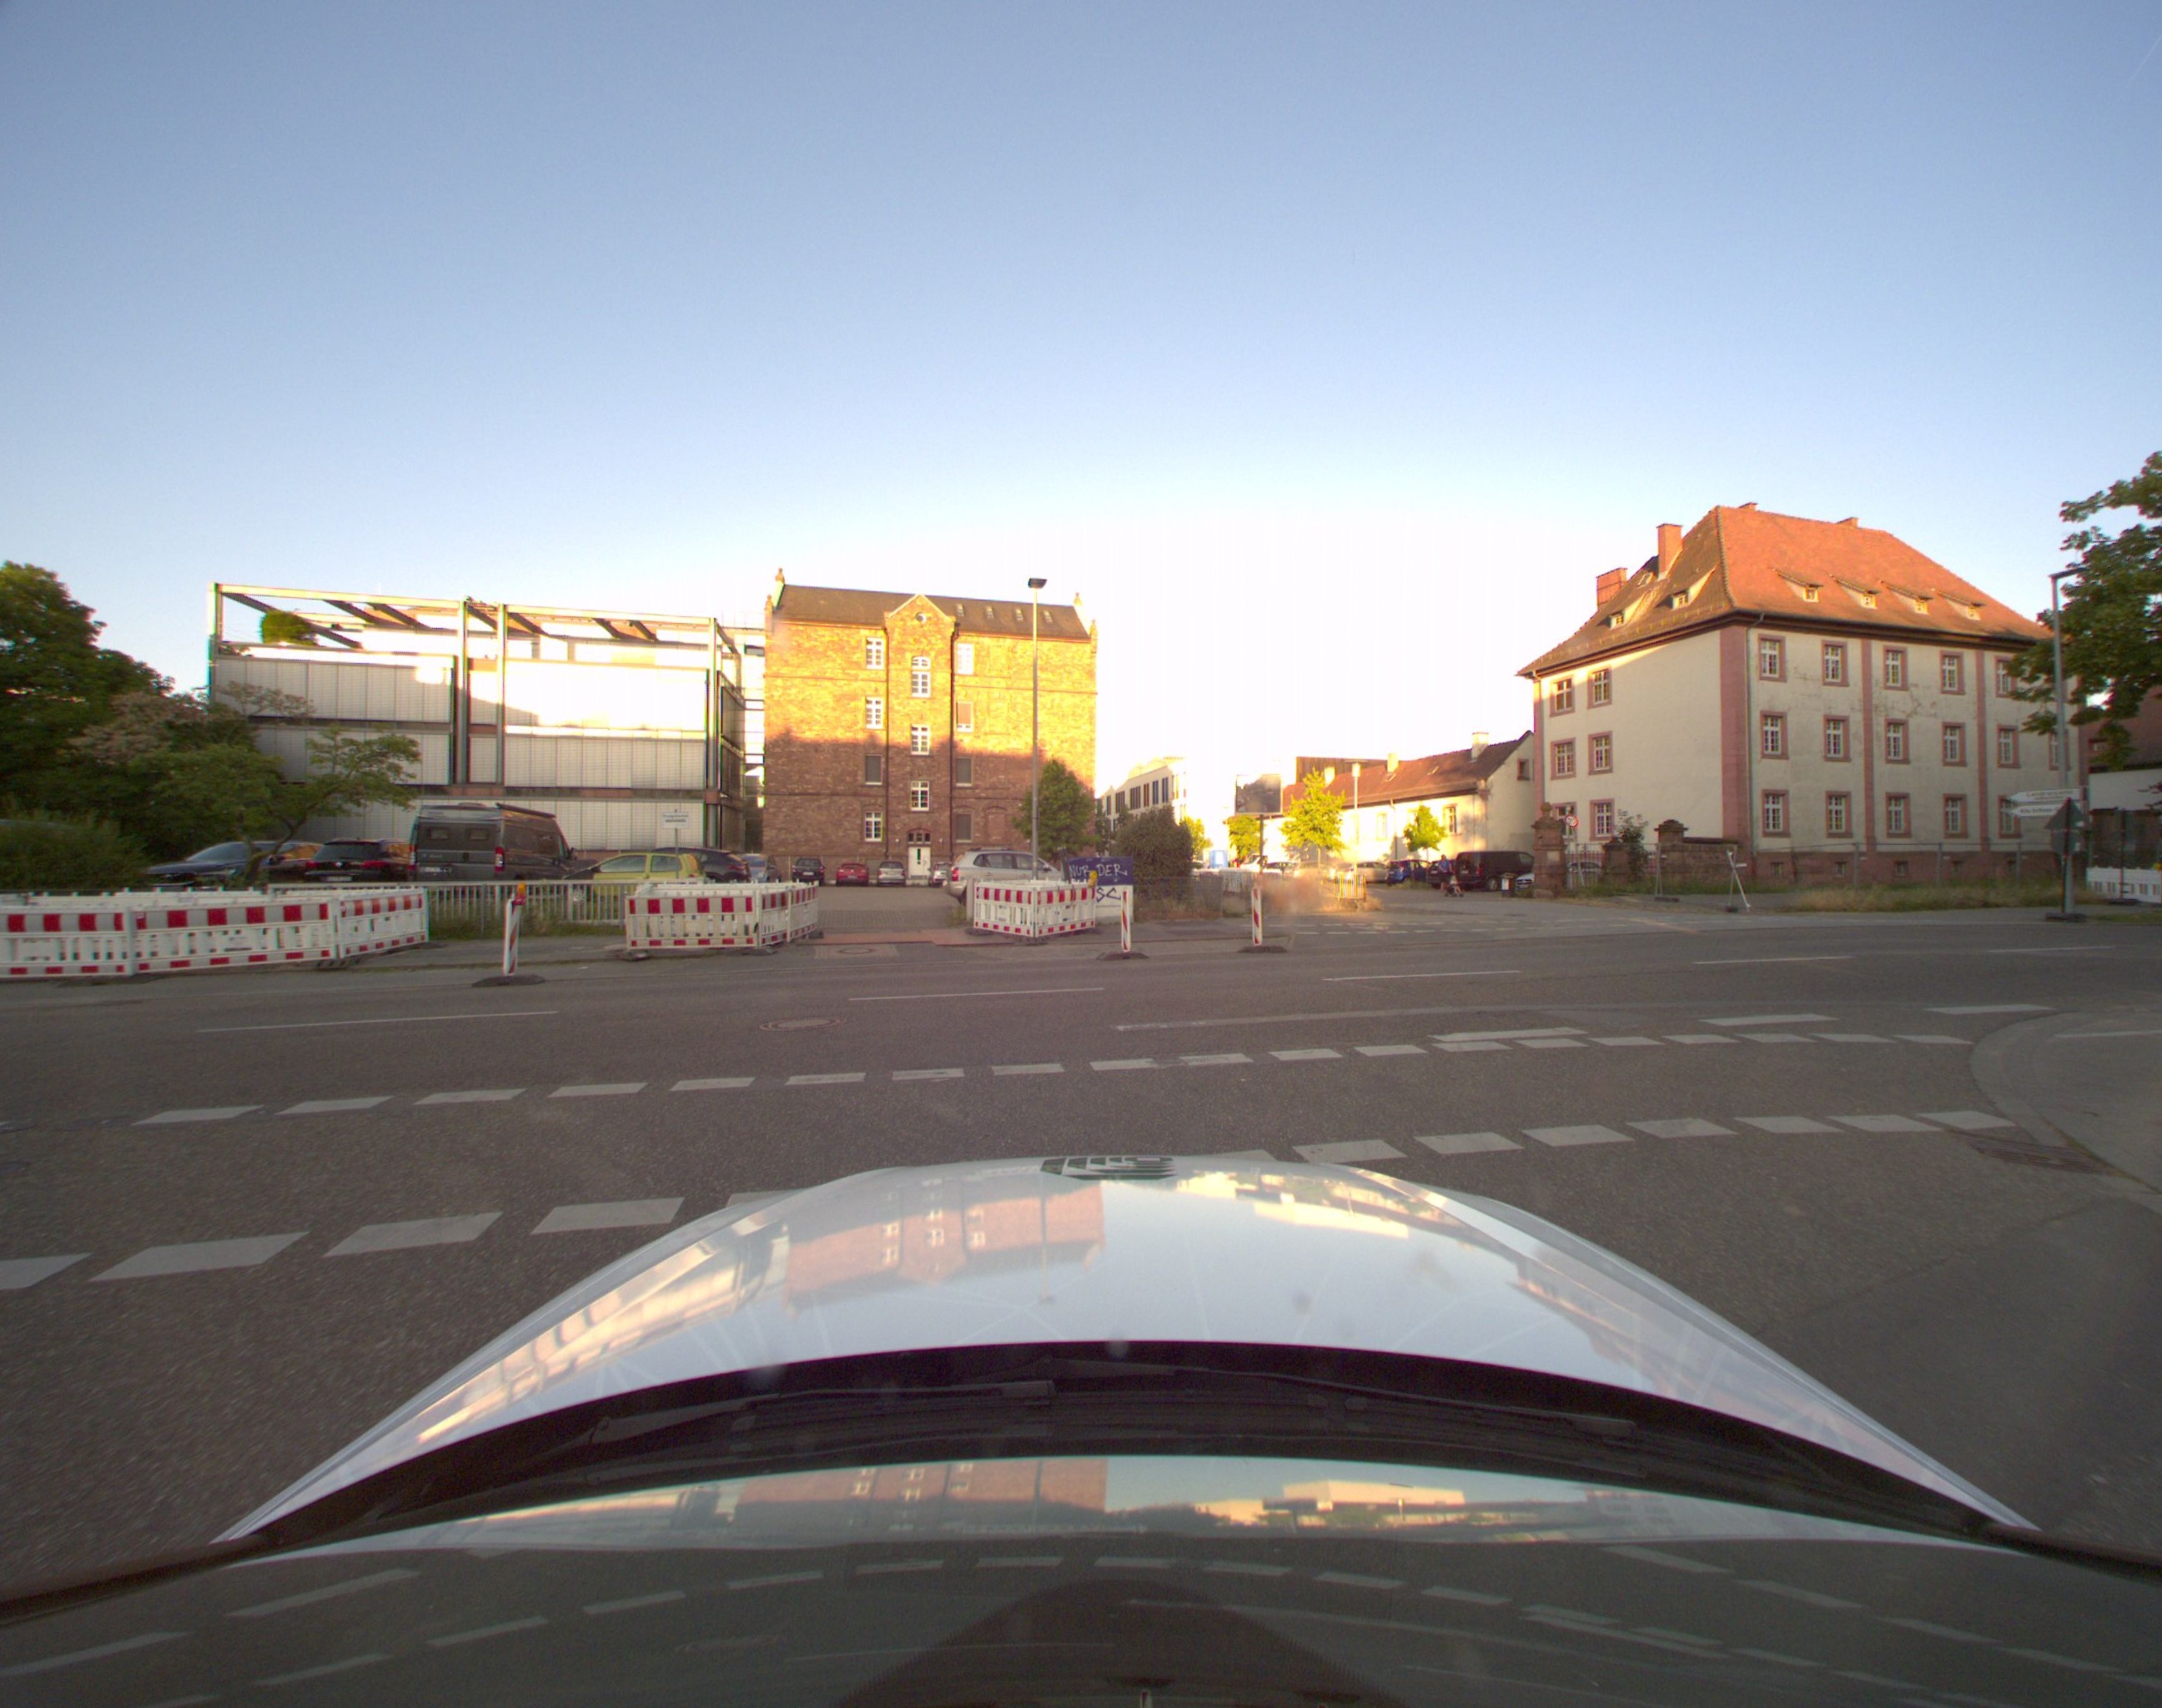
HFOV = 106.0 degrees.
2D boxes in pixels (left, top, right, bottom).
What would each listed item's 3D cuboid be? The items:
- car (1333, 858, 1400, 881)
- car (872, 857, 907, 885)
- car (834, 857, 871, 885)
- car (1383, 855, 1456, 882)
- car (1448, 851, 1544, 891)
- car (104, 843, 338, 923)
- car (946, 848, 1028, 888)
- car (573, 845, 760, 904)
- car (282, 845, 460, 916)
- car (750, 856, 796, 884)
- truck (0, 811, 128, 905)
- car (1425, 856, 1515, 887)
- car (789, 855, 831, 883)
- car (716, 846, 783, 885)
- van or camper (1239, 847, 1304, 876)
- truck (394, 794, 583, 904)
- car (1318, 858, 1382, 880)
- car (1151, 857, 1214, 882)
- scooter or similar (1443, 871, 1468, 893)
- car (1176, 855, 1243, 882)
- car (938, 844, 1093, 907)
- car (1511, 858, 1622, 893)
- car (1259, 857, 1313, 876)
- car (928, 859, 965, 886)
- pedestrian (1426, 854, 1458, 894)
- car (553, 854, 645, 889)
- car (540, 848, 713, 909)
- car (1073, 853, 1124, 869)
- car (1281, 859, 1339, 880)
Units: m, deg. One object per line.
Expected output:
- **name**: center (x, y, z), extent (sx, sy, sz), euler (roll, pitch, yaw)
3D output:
- **car**: center (18.127, 0.976, 51.763), extent (3.750, 1.445, 1.677), euler (0, -1, -18)
- **car**: center (-11.157, 0.973, 47.513), extent (1.899, 1.537, 4.160), euler (0, 0, -13)
- **car**: center (-13.158, 0.924, 47.074), extent (1.899, 1.537, 4.160), euler (0, 0, -13)
- **car**: center (19.601, 0.840, 47.223), extent (3.750, 1.529, 1.677), euler (0, -1, -18)
- **car**: center (20.456, 0.825, 40.169), extent (3.997, 1.859, 1.988), euler (0, -1, -18)
- **car**: center (-20.725, 0.638, 19.950), extent (1.997, 1.727, 4.278), euler (0, 0, -16)
- **car**: center (-4.278, 0.613, 36.923), extent (3.481, 1.709, 1.659), euler (0, 0, -15)
- **car**: center (-12.003, 0.560, 23.872), extent (4.587, 1.638, 1.569), euler (0, 0, -13)
- **car**: center (-18.514, 0.640, 21.508), extent (1.997, 1.692, 3.979), euler (0, 0, -16)
- **car**: center (-17.484, 0.880, 46.384), extent (1.899, 1.537, 4.160), euler (0, 0, -13)
- **truck**: center (-25.288, 0.100, 18.640), extent (2.106, 2.091, 4.496), euler (0, -1, -10)
- **car**: center (20.439, 0.891, 42.844), extent (3.997, 1.573, 1.988), euler (0, -1, -18)
- **car**: center (-15.555, 0.819, 46.961), extent (1.899, 1.537, 4.160), euler (0, 0, -13)
- **car**: center (-14.204, 0.479, 35.146), extent (1.996, 1.576, 4.344), euler (0, 0, -13)
- **van or camper**: center (15.344, 0.623, 65.500), extent (4.975, 2.240, 1.677), euler (0, -1, -18)
- **truck**: center (-15.787, -0.106, 22.125), extent (2.336, 2.617, 4.951), euler (0, 0, -13)
- **car**: center (17.940, 1.003, 54.353), extent (3.750, 1.445, 1.677), euler (0, -1, -18)
- **car**: center (6.592, 1.012, 53.176), extent (3.750, 1.603, 1.677), euler (0, -1, -18)
- **scooter or similar**: center (15.256, 1.135, 33.180), extent (0.514, 0.890, 0.802), euler (0, -1, -13)
- **car**: center (7.950, 0.867, 50.426), extent (3.750, 1.603, 1.677), euler (0, -1, -18)
- **car**: center (-1.922, 0.583, 23.603), extent (4.276, 1.709, 1.694), euler (0, 0, -15)
- **car**: center (21.130, 0.926, 35.483), extent (3.997, 1.459, 1.988), euler (0, -1, -18)
- **car**: center (15.623, 0.936, 62.088), extent (3.750, 1.445, 1.677), euler (0, -1, -18)
- **car**: center (-8.057, 1.062, 48.456), extent (1.899, 1.537, 4.160), euler (0, 0, -13)
- **pedestrian**: center (15.141, 0.820, 34.171), extent (0.750, 1.642, 1.010), euler (0, -1, -13)
- **car**: center (-19.366, 0.657, 32.952), extent (1.942, 1.306, 4.344), euler (0, 0, -13)
- **car**: center (-11.803, 0.602, 21.387), extent (3.634, 1.504, 1.630), euler (0, 0, -13)
- **car**: center (1.479, 0.581, 69.233), extent (3.994, 1.313, 1.868), euler (0, -1, -15)
- **car**: center (16.317, 1.092, 58.079), extent (3.750, 1.445, 1.677), euler (0, -1, -18)
